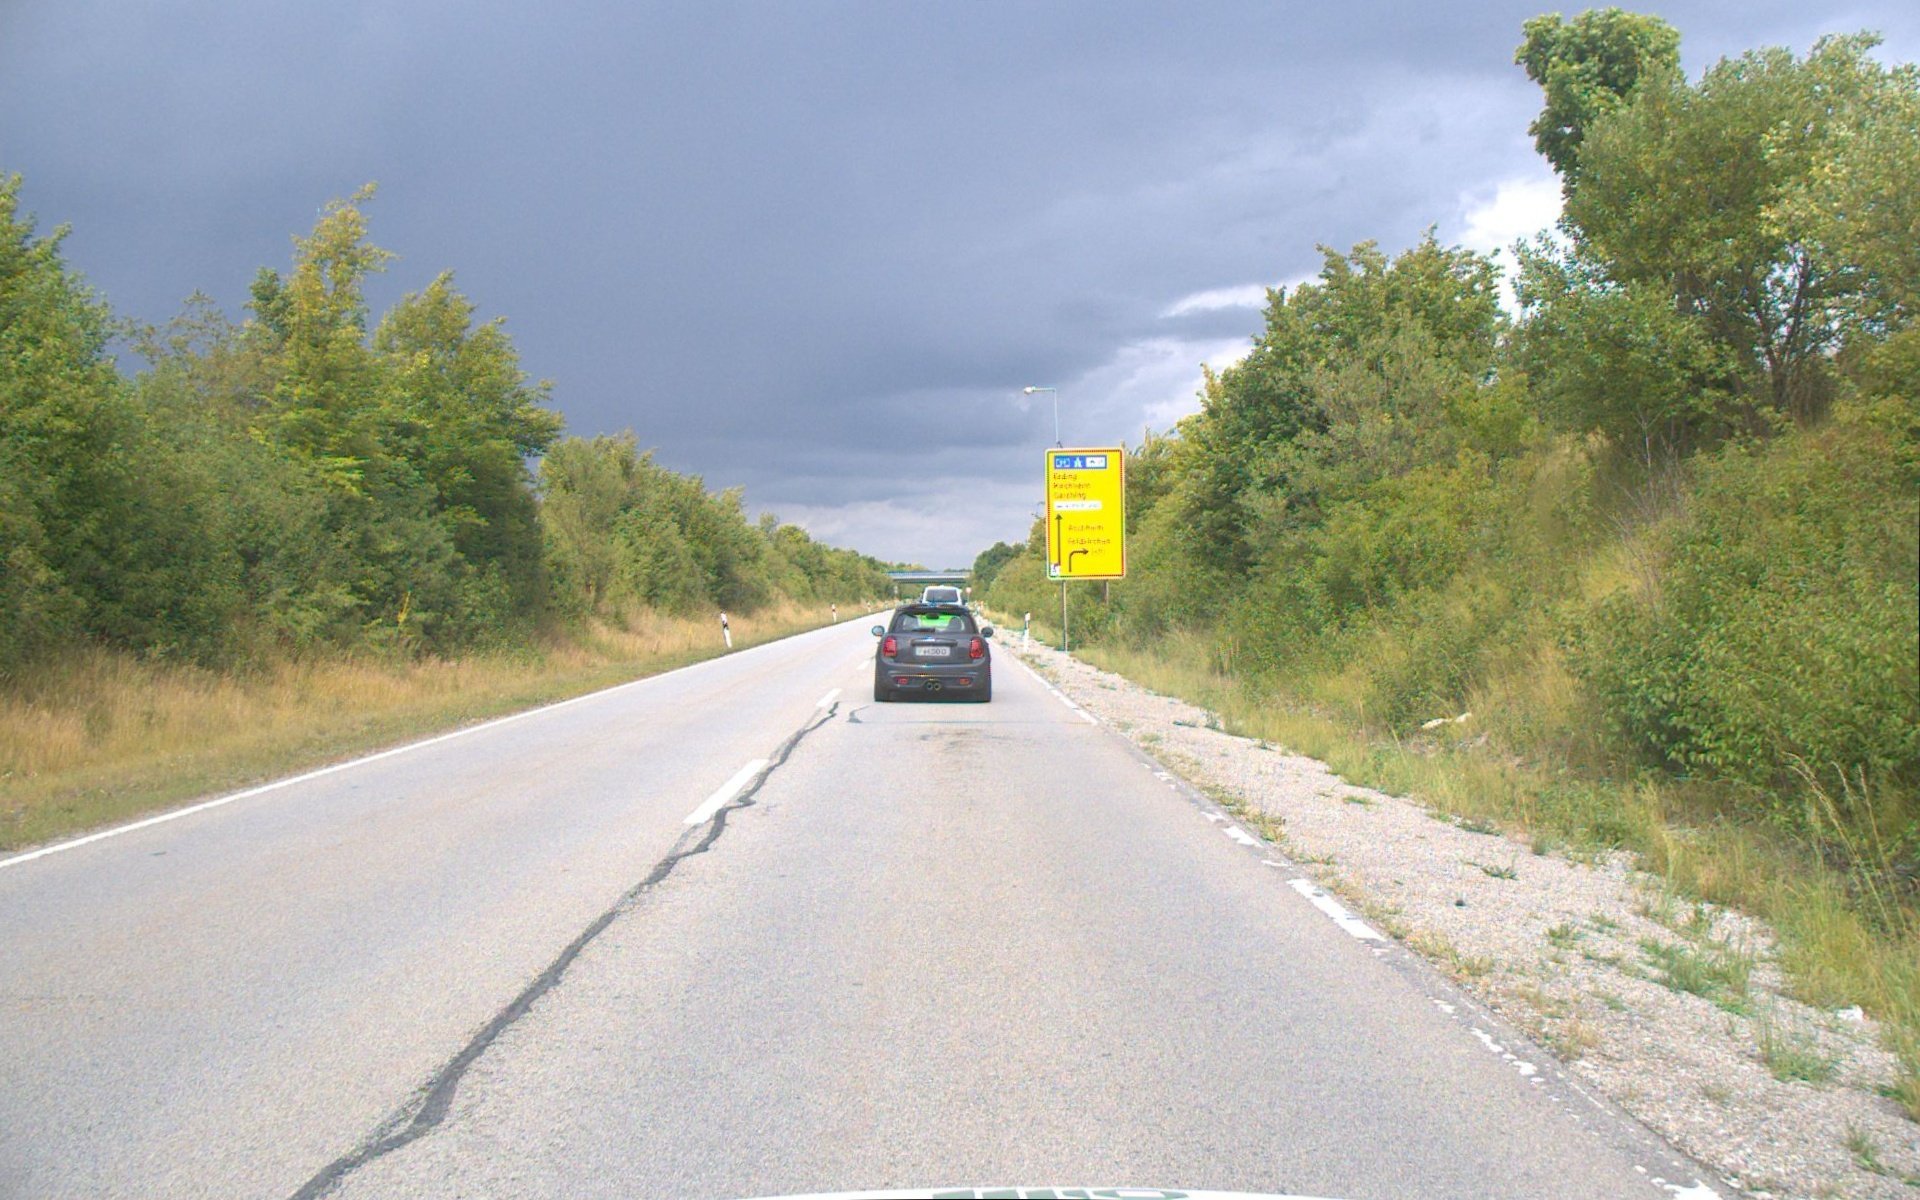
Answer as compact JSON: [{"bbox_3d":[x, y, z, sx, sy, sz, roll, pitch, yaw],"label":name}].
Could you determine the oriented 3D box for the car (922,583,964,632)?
[{"bbox_3d":[-0.765,0.337,73.211,1.782,2.090,3.999,1,0,-1],"label":"car"}]

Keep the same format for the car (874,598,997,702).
[{"bbox_3d":[-0.377,0.707,25.359,1.721,1.452,3.999,1,0,-1],"label":"car"}]
